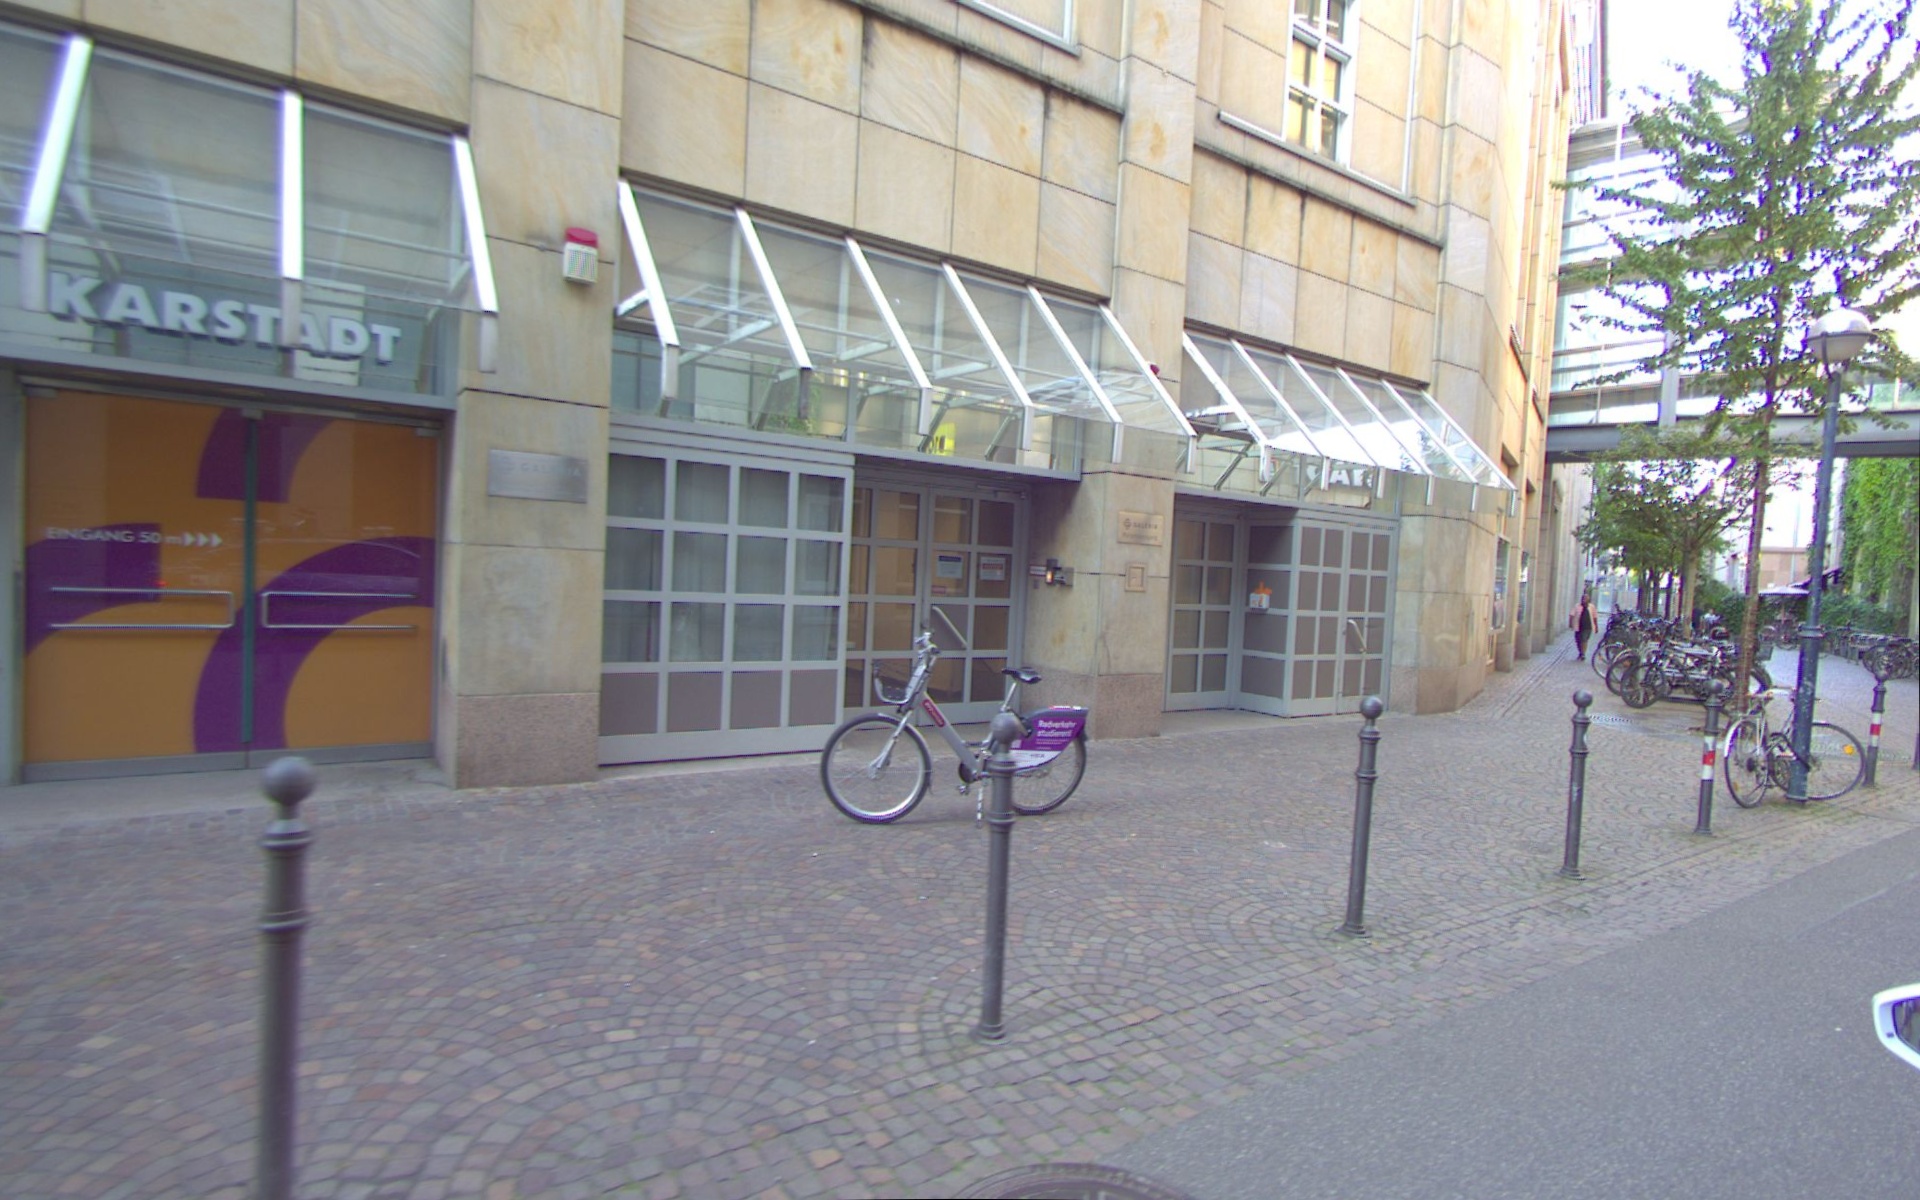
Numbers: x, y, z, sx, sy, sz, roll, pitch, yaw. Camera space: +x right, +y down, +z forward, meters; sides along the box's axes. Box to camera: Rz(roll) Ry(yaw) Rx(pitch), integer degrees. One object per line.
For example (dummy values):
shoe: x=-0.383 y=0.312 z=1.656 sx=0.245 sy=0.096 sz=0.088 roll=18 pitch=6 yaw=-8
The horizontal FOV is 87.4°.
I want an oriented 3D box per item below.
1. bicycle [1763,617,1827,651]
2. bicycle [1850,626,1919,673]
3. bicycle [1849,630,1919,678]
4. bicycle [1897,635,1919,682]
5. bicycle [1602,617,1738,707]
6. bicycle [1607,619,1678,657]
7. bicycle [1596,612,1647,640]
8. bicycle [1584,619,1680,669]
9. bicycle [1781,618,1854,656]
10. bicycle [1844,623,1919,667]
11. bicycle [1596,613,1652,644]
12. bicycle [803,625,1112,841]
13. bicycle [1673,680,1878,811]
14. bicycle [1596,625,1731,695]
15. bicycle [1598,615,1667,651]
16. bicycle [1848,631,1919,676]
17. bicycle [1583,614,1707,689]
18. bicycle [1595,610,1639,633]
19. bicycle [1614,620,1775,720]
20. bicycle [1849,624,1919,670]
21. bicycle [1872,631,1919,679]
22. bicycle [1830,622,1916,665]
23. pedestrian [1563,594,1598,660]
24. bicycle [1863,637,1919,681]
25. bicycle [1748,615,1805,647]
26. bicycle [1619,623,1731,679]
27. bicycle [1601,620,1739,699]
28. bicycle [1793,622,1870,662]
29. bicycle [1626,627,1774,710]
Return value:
bicycle: x=30.952 y=1.244 z=37.275 sx=1.751 sy=1.129 sz=0.540 roll=3 pitch=2 yaw=37
bicycle: x=24.762 y=1.301 z=26.539 sx=1.749 sy=1.129 sz=0.541 roll=3 pitch=2 yaw=35
bicycle: x=22.946 y=1.330 z=24.694 sx=1.518 sy=1.063 sz=0.573 roll=3 pitch=2 yaw=34
bicycle: x=21.632 y=1.316 z=21.774 sx=1.823 sy=0.995 sz=0.462 roll=3 pitch=2 yaw=35
bicycle: x=10.913 y=0.924 z=15.500 sx=1.630 sy=1.247 sz=0.533 roll=3 pitch=2 yaw=32
bicycle: x=20.912 y=1.158 z=30.815 sx=1.754 sy=1.033 sz=0.480 roll=3 pitch=2 yaw=32
bicycle: x=29.630 y=1.155 z=45.013 sx=1.877 sy=1.127 sz=0.480 roll=3 pitch=2 yaw=32
bicycle: x=15.693 y=1.012 z=23.506 sx=1.799 sy=1.057 sz=0.533 roll=3 pitch=2 yaw=32
bicycle: x=28.691 y=1.223 z=33.648 sx=1.749 sy=1.129 sz=0.541 roll=3 pitch=2 yaw=35
bicycle: x=26.219 y=1.273 z=28.388 sx=1.749 sy=1.129 sz=0.541 roll=3 pitch=2 yaw=35
bicycle: x=27.269 y=1.158 z=41.273 sx=1.877 sy=1.127 sz=0.480 roll=3 pitch=2 yaw=32
bicycle: x=-0.009 y=0.758 z=6.004 sx=1.737 sy=1.153 sz=0.521 roll=2 pitch=2 yaw=-20
bicycle: x=6.674 y=1.162 z=8.213 sx=1.634 sy=0.951 sz=0.492 roll=2 pitch=3 yaw=-21
bicycle: x=12.292 y=1.031 z=17.630 sx=1.867 sy=1.066 sz=0.533 roll=3 pitch=2 yaw=32
bicycle: x=21.255 y=1.033 z=31.774 sx=1.754 sy=1.033 sz=0.480 roll=3 pitch=2 yaw=32
bicycle: x=23.882 y=1.368 z=25.768 sx=1.518 sy=1.063 sz=0.573 roll=3 pitch=2 yaw=34
bicycle: x=12.537 y=0.925 z=18.446 sx=1.807 sy=1.241 sz=0.533 roll=3 pitch=2 yaw=32
bicycle: x=35.070 y=1.162 z=53.629 sx=1.876 sy=1.127 sz=0.480 roll=3 pitch=2 yaw=31
bicycle: x=10.302 y=0.953 z=14.164 sx=1.741 sy=1.247 sz=0.533 roll=3 pitch=2 yaw=32
bicycle: x=25.468 y=1.278 z=27.384 sx=1.749 sy=1.129 sz=0.541 roll=3 pitch=2 yaw=35
bicycle: x=22.528 y=1.314 z=23.603 sx=1.518 sy=1.063 sz=0.573 roll=3 pitch=2 yaw=34
bicycle: x=26.730 y=1.256 z=29.439 sx=1.749 sy=1.129 sz=0.541 roll=3 pitch=2 yaw=35
pedestrian: x=15.689 y=0.668 z=25.403 sx=0.688 sy=1.604 sz=0.717 roll=3 pitch=2 yaw=32
bicycle: x=21.853 y=1.364 z=22.926 sx=1.749 sy=0.916 sz=0.462 roll=3 pitch=2 yaw=35
bicycle: x=33.981 y=1.278 z=41.823 sx=1.749 sy=1.206 sz=0.584 roll=3 pitch=2 yaw=35
bicycle: x=15.116 y=1.059 z=21.294 sx=1.850 sy=1.057 sz=0.533 roll=3 pitch=2 yaw=32
bicycle: x=12.031 y=0.987 z=17.089 sx=1.846 sy=1.193 sz=0.533 roll=3 pitch=2 yaw=32
bicycle: x=27.700 y=1.313 z=31.947 sx=1.749 sy=1.129 sz=0.541 roll=3 pitch=2 yaw=35
bicycle: x=11.685 y=1.057 z=15.934 sx=1.810 sy=1.137 sz=0.533 roll=3 pitch=2 yaw=32
